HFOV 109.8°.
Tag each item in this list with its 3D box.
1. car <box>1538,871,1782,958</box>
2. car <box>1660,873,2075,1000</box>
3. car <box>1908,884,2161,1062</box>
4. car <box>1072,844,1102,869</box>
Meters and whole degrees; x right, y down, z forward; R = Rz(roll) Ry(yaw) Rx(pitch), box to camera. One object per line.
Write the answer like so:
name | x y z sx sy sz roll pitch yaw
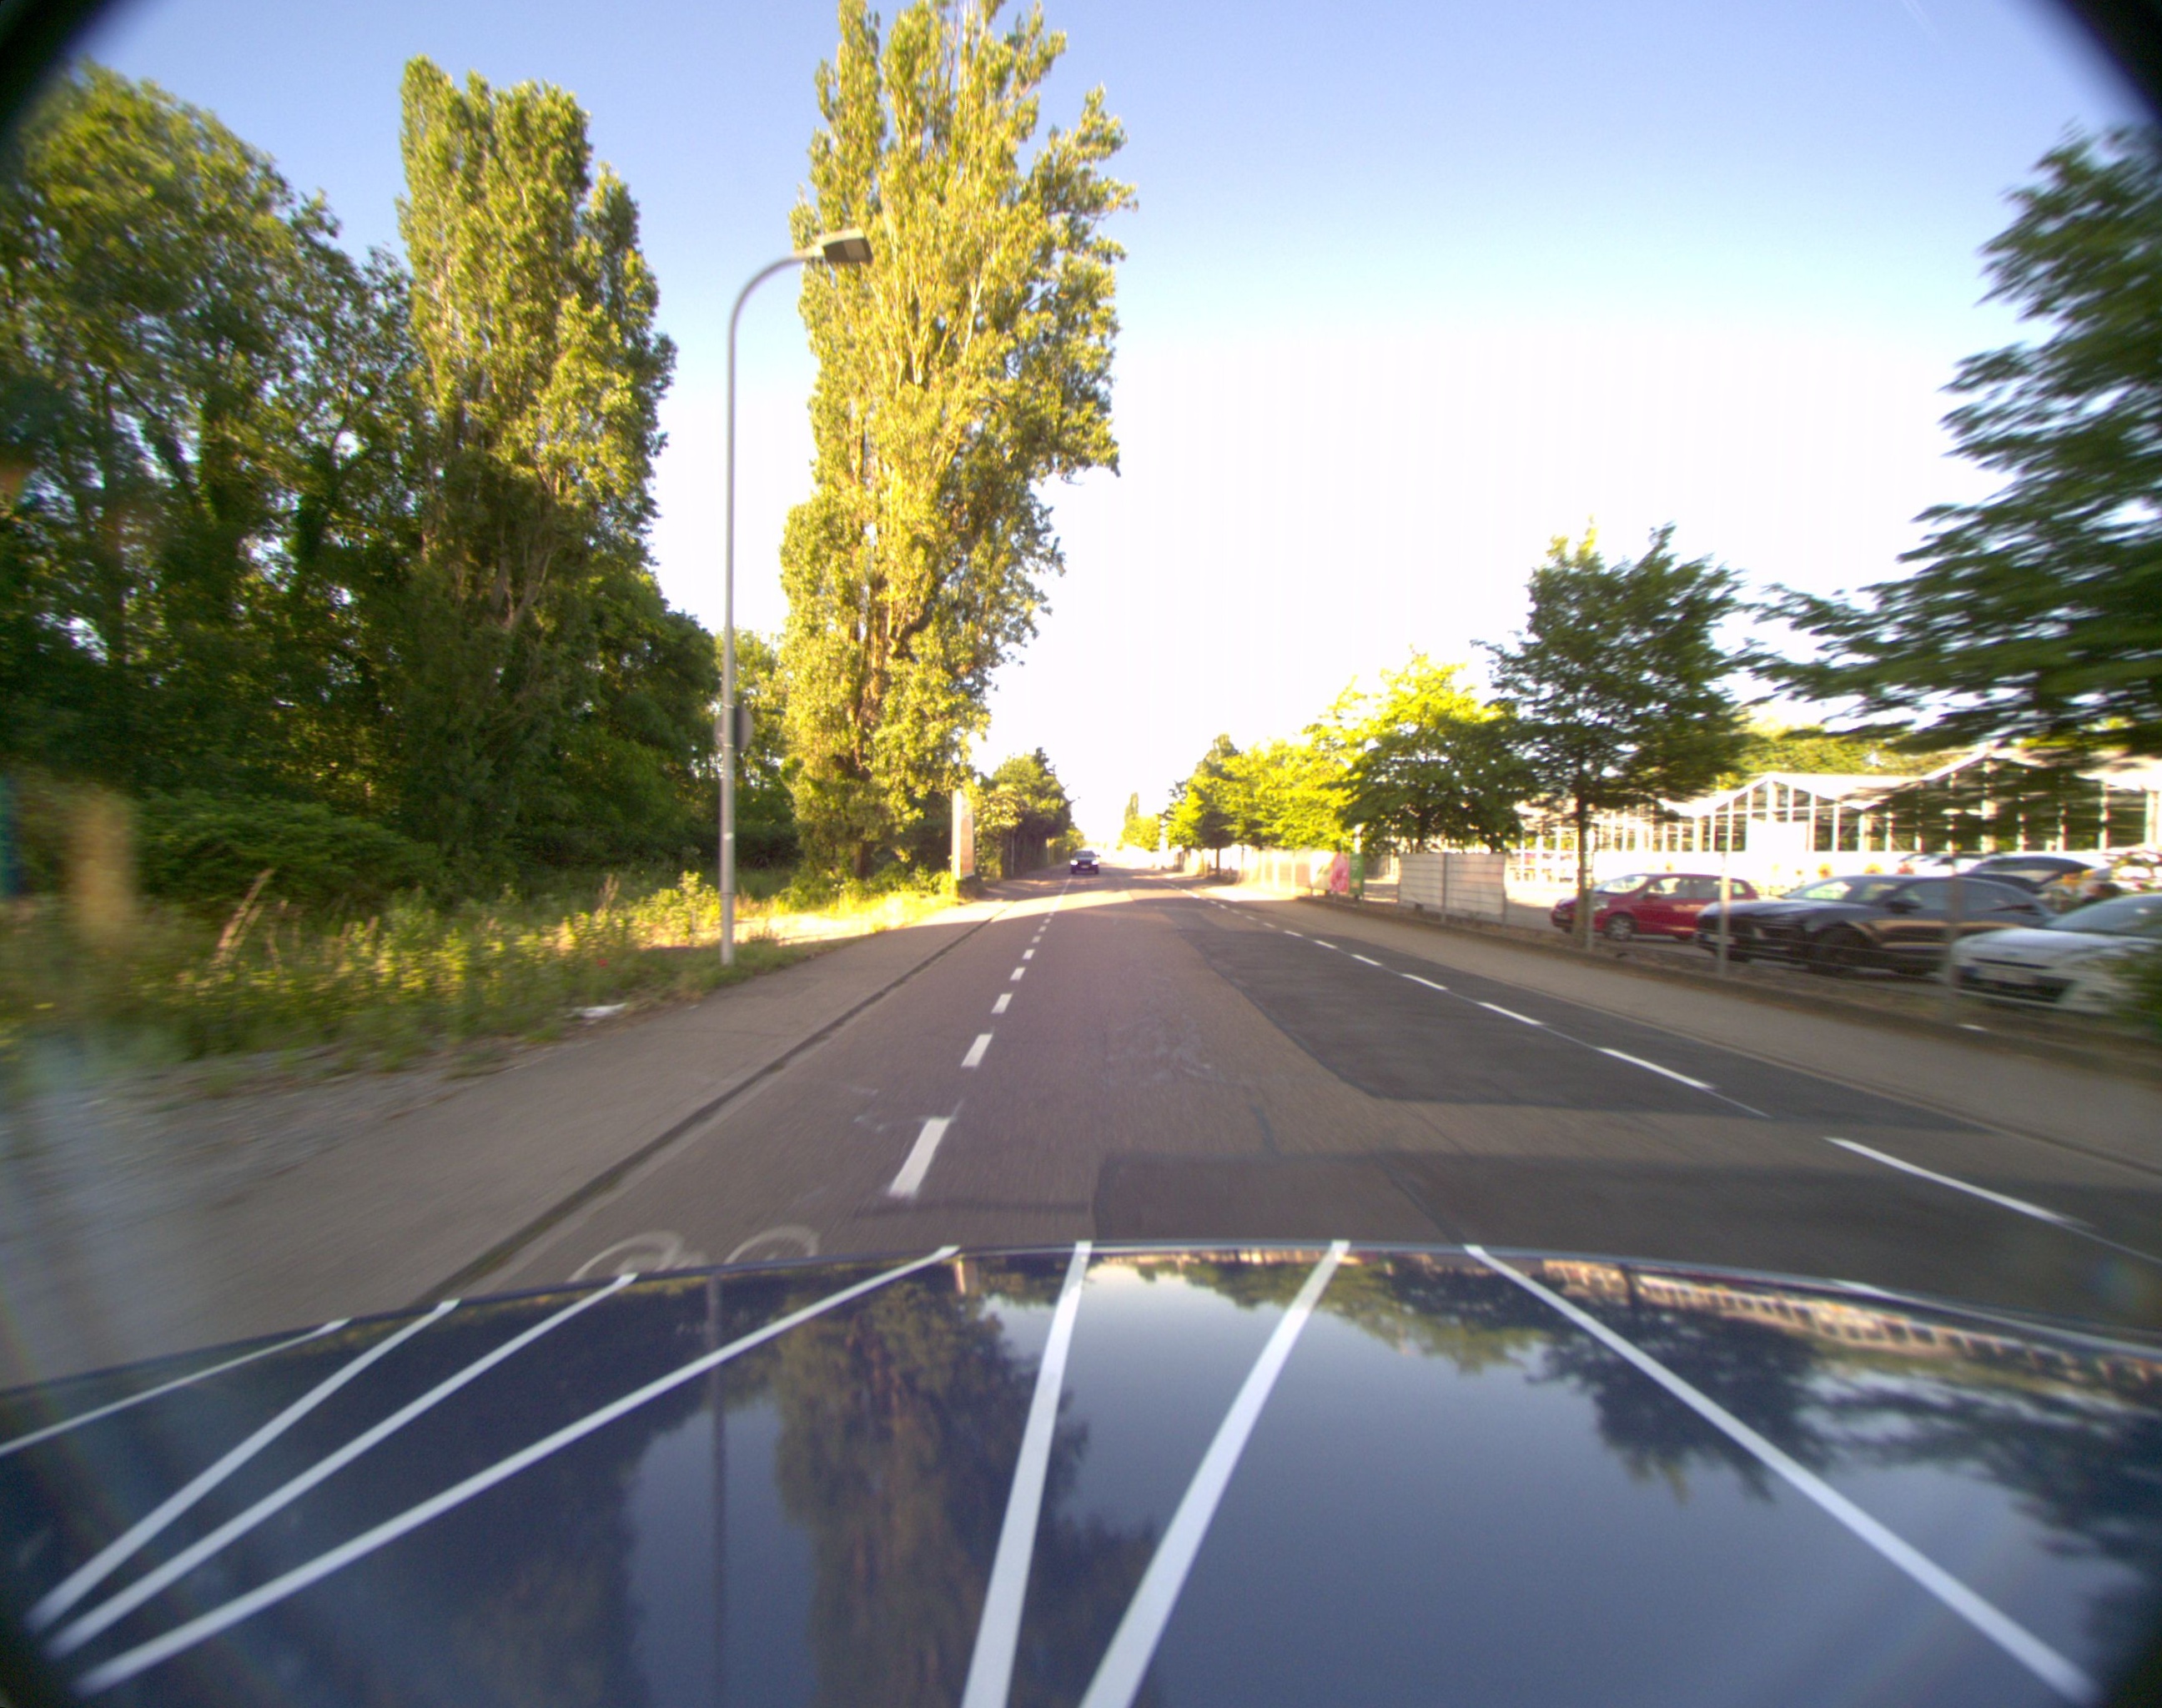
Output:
car | 12.142 1.230 16.115 3.736 1.442 1.805 4 0 -1
car | 11.787 1.190 11.643 4.197 1.442 2.052 4 0 -1
car | 11.313 1.218 7.662 3.899 1.502 1.786 4 0 0
car | 0.392 0.159 54.534 1.999 1.608 3.999 -2 0 0
